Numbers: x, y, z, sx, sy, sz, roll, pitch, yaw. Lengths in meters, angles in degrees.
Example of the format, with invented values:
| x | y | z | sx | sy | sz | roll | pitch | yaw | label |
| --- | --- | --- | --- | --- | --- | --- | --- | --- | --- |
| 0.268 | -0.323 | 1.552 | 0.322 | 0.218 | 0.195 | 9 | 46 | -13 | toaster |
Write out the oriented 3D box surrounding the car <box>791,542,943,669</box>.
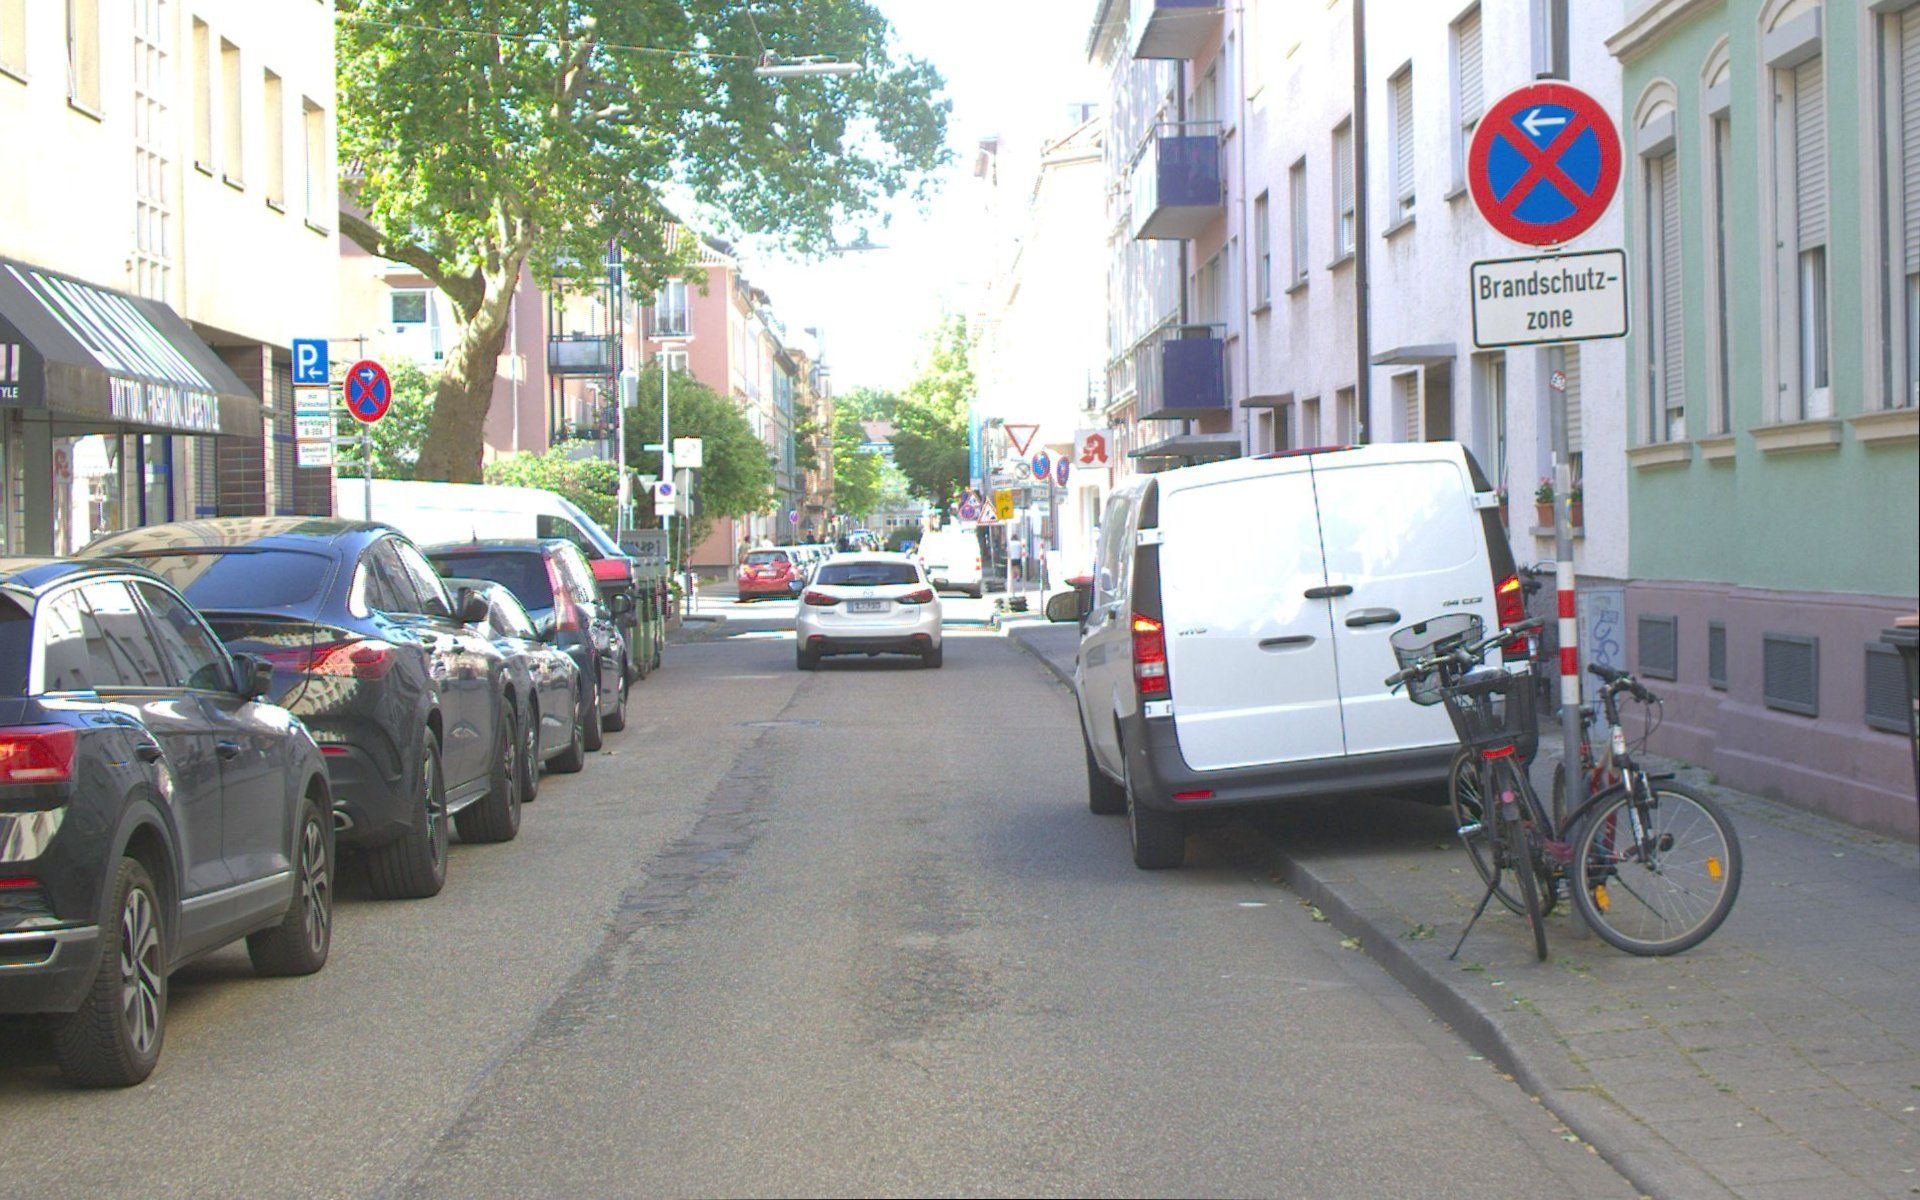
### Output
| x | y | z | sx | sy | sz | roll | pitch | yaw | label |
| --- | --- | --- | --- | --- | --- | --- | --- | --- | --- |
| -1.176 | 0.034 | 43.654 | 1.823 | 1.509 | 3.824 | -1 | 1 | -1 | car |

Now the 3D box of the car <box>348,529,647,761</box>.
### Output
| x | y | z | sx | sy | sz | roll | pitch | yaw | label |
| --- | --- | --- | --- | --- | --- | --- | --- | --- | --- |
| -3.648 | 0.293 | 27.865 | 1.782 | 1.661 | 4.671 | -2 | 1 | -1 | car |

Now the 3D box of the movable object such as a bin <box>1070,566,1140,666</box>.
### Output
| x | y | z | sx | sy | sz | roll | pitch | yaw | label |
| --- | --- | --- | --- | --- | --- | --- | --- | --- | --- |
| 1.594 | 0.172 | 37.984 | 0.732 | 1.077 | 0.703 | -1 | 0 | 0 | movable object such as a bin |

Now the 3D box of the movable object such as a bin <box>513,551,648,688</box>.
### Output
| x | y | z | sx | sy | sz | roll | pitch | yaw | label |
| --- | --- | --- | --- | --- | --- | --- | --- | --- | --- |
| -4.193 | 0.211 | 38.101 | 1.319 | 1.445 | 1.187 | -2 | 0 | -1 | movable object such as a bin |

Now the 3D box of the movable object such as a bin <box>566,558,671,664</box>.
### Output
| x | y | z | sx | sy | sz | roll | pitch | yaw | label |
| --- | --- | --- | --- | --- | --- | --- | --- | --- | --- |
| -4.313 | 0.136 | 43.515 | 1.241 | 1.317 | 1.046 | 0 | 0 | -1 | movable object such as a bin |

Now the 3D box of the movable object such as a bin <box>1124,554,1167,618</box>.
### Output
| x | y | z | sx | sy | sz | roll | pitch | yaw | label |
| --- | --- | --- | --- | --- | --- | --- | --- | --- | --- |
| 3.137 | -0.241 | 58.169 | 0.701 | 1.069 | 0.596 | -1 | 0 | 1 | movable object such as a bin |

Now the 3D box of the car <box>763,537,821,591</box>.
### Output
| x | y | z | sx | sy | sz | roll | pitch | yaw | label |
| --- | --- | --- | --- | --- | --- | --- | --- | --- | --- |
| -5.299 | -1.134 | 108.619 | 1.635 | 1.650 | 3.785 | -1 | 0 | 0 | car |

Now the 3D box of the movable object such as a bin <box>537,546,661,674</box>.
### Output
| x | y | z | sx | sy | sz | roll | pitch | yaw | label |
| --- | --- | --- | --- | --- | --- | --- | --- | --- | --- |
| -4.226 | 0.110 | 40.319 | 1.348 | 1.482 | 1.003 | 0 | 0 | -1 | movable object such as a bin |

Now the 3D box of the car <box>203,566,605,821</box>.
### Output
| x | y | z | sx | sy | sz | roll | pitch | yaw | label |
| --- | --- | --- | --- | --- | --- | --- | --- | --- | --- |
| -3.494 | 0.530 | 22.486 | 1.845 | 1.412 | 4.818 | -2 | 0 | -1 | car |

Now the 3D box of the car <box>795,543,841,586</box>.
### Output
| x | y | z | sx | sy | sz | roll | pitch | yaw | label |
| --- | --- | --- | --- | --- | --- | --- | --- | --- | --- |
| -5.349 | -1.339 | 129.726 | 1.572 | 1.580 | 3.611 | -1 | 0 | 0 | car |

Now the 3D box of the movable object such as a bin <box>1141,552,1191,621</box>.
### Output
| x | y | z | sx | sy | sz | roll | pitch | yaw | label |
| --- | --- | --- | --- | --- | --- | --- | --- | --- | --- |
| 3.369 | -0.220 | 56.224 | 0.729 | 1.100 | 0.693 | -1 | 0 | -3 | movable object such as a bin |

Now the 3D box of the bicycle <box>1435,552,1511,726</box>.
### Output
| x | y | z | sx | sy | sz | roll | pitch | yaw | label |
| --- | --- | --- | --- | --- | --- | --- | --- | --- | --- |
| 3.734 | 0.264 | 25.093 | 0.438 | 1.202 | 2.265 | -1 | 0 | 6 | bicycle |

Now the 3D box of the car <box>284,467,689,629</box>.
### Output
| x | y | z | sx | sy | sz | roll | pitch | yaw | label |
| --- | --- | --- | --- | --- | --- | --- | --- | --- | --- |
| -8.303 | -0.903 | 60.730 | 6.739 | 2.546 | 2.146 | 2 | 0 | 1 | car |

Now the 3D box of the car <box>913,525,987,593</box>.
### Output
| x | y | z | sx | sy | sz | roll | pitch | yaw | label |
| --- | --- | --- | --- | --- | --- | --- | --- | --- | --- |
| -0.314 | -1.210 | 100.741 | 1.942 | 1.941 | 4.079 | 0 | 1 | -3 | car |

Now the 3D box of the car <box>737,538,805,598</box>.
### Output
| x | y | z | sx | sy | sz | roll | pitch | yaw | label |
| --- | --- | --- | --- | --- | --- | --- | --- | --- | --- |
| -5.343 | -0.931 | 97.507 | 1.769 | 1.583 | 3.726 | -1 | 2 | -1 | car |

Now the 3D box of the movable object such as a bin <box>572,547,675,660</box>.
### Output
| x | y | z | sx | sy | sz | roll | pitch | yaw | label |
| --- | --- | --- | --- | --- | --- | --- | --- | --- | --- |
| -4.358 | 0.038 | 44.612 | 1.300 | 1.446 | 1.118 | 0 | 0 | -4 | movable object such as a bin |

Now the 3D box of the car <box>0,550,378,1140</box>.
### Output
| x | y | z | sx | sy | sz | roll | pitch | yaw | label |
| --- | --- | --- | --- | --- | --- | --- | --- | --- | --- |
| -3.170 | 0.631 | 11.170 | 1.713 | 1.526 | 4.367 | -2 | 1 | 1 | car |

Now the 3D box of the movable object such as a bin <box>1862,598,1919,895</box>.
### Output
| x | y | z | sx | sy | sz | roll | pitch | yaw | label |
| --- | --- | --- | --- | --- | --- | --- | --- | --- | --- |
| 3.888 | 0.532 | 12.930 | 0.812 | 1.084 | 0.673 | -1 | 0 | 2 | movable object such as a bin |

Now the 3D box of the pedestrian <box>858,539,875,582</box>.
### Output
| x | y | z | sx | sy | sz | roll | pitch | yaw | label |
| --- | --- | --- | --- | --- | --- | --- | --- | --- | --- |
| -3.946 | -1.672 | 145.372 | 0.647 | 1.791 | 0.639 | -1 | 0 | 0 | pedestrian |

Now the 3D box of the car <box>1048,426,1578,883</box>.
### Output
| x | y | z | sx | sy | sz | roll | pitch | yaw | label |
| --- | --- | --- | --- | --- | --- | --- | --- | --- | --- |
| 1.639 | 0.184 | 18.033 | 1.983 | 1.877 | 5.600 | -4 | 1 | -1 | car |

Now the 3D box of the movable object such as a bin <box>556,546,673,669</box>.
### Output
| x | y | z | sx | sy | sz | roll | pitch | yaw | label |
| --- | --- | --- | --- | --- | --- | --- | --- | --- | --- |
| -4.252 | 0.090 | 42.423 | 1.334 | 1.486 | 1.082 | 0 | 0 | -1 | movable object such as a bin |

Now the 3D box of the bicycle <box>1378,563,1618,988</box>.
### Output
| x | y | z | sx | sy | sz | roll | pitch | yaw | label |
| --- | --- | --- | --- | --- | --- | --- | --- | --- | --- |
| 1.851 | 0.549 | 12.076 | 0.575 | 1.316 | 2.199 | -2 | 1 | 3 | bicycle |

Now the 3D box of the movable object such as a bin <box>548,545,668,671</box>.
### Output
| x | y | z | sx | sy | sz | roll | pitch | yaw | label |
| --- | --- | --- | --- | --- | --- | --- | --- | --- | --- |
| -4.221 | 0.091 | 41.355 | 1.343 | 1.494 | 1.018 | 0 | 0 | -1 | movable object such as a bin |

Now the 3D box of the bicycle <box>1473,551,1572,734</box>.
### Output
| x | y | z | sx | sy | sz | roll | pitch | yaw | label |
| --- | --- | --- | --- | --- | --- | --- | --- | --- | --- |
| 3.871 | 0.270 | 23.757 | 0.405 | 1.202 | 2.159 | -1 | 0 | 3 | bicycle |

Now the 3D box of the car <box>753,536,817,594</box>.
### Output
| x | y | z | sx | sy | sz | roll | pitch | yaw | label |
| --- | --- | --- | --- | --- | --- | --- | --- | --- | --- |
| -5.225 | -1.063 | 103.105 | 1.720 | 1.677 | 3.726 | -1 | 1 | 0 | car |

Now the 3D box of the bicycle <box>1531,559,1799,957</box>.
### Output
| x | y | z | sx | sy | sz | roll | pitch | yaw | label |
| --- | --- | --- | --- | --- | --- | --- | --- | --- | --- |
| 2.500 | 0.507 | 12.400 | 0.575 | 1.266 | 2.199 | -3 | 1 | 3 | bicycle |

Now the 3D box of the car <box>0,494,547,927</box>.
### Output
| x | y | z | sx | sy | sz | roll | pitch | yaw | label |
| --- | --- | --- | --- | --- | --- | --- | --- | --- | --- |
| -3.280 | 0.414 | 16.687 | 1.936 | 1.730 | 5.142 | -2 | 1 | -1 | car |

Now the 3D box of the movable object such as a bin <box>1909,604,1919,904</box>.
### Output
| x | y | z | sx | sy | sz | roll | pitch | yaw | label |
| --- | --- | --- | --- | --- | --- | --- | --- | --- | --- |
| 3.873 | 0.555 | 12.259 | 0.797 | 1.092 | 0.642 | -1 | 0 | 2 | movable object such as a bin |

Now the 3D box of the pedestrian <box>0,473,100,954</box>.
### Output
| x | y | z | sx | sy | sz | roll | pitch | yaw | label |
| --- | --- | --- | --- | --- | --- | --- | --- | --- | --- |
| -3.951 | 0.436 | 13.556 | 0.866 | 1.830 | 0.883 | -1 | 0 | 0 | pedestrian |

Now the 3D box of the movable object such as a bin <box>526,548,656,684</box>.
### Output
| x | y | z | sx | sy | sz | roll | pitch | yaw | label |
| --- | --- | --- | --- | --- | --- | --- | --- | --- | --- |
| -4.204 | 0.179 | 39.275 | 1.334 | 1.479 | 1.093 | -2 | 0 | -1 | movable object such as a bin |

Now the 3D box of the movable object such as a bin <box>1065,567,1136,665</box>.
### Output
| x | y | z | sx | sy | sz | roll | pitch | yaw | label |
| --- | --- | --- | --- | --- | --- | --- | --- | --- | --- |
| 1.577 | 0.174 | 38.698 | 0.768 | 1.083 | 0.693 | -1 | 0 | 0 | movable object such as a bin |
